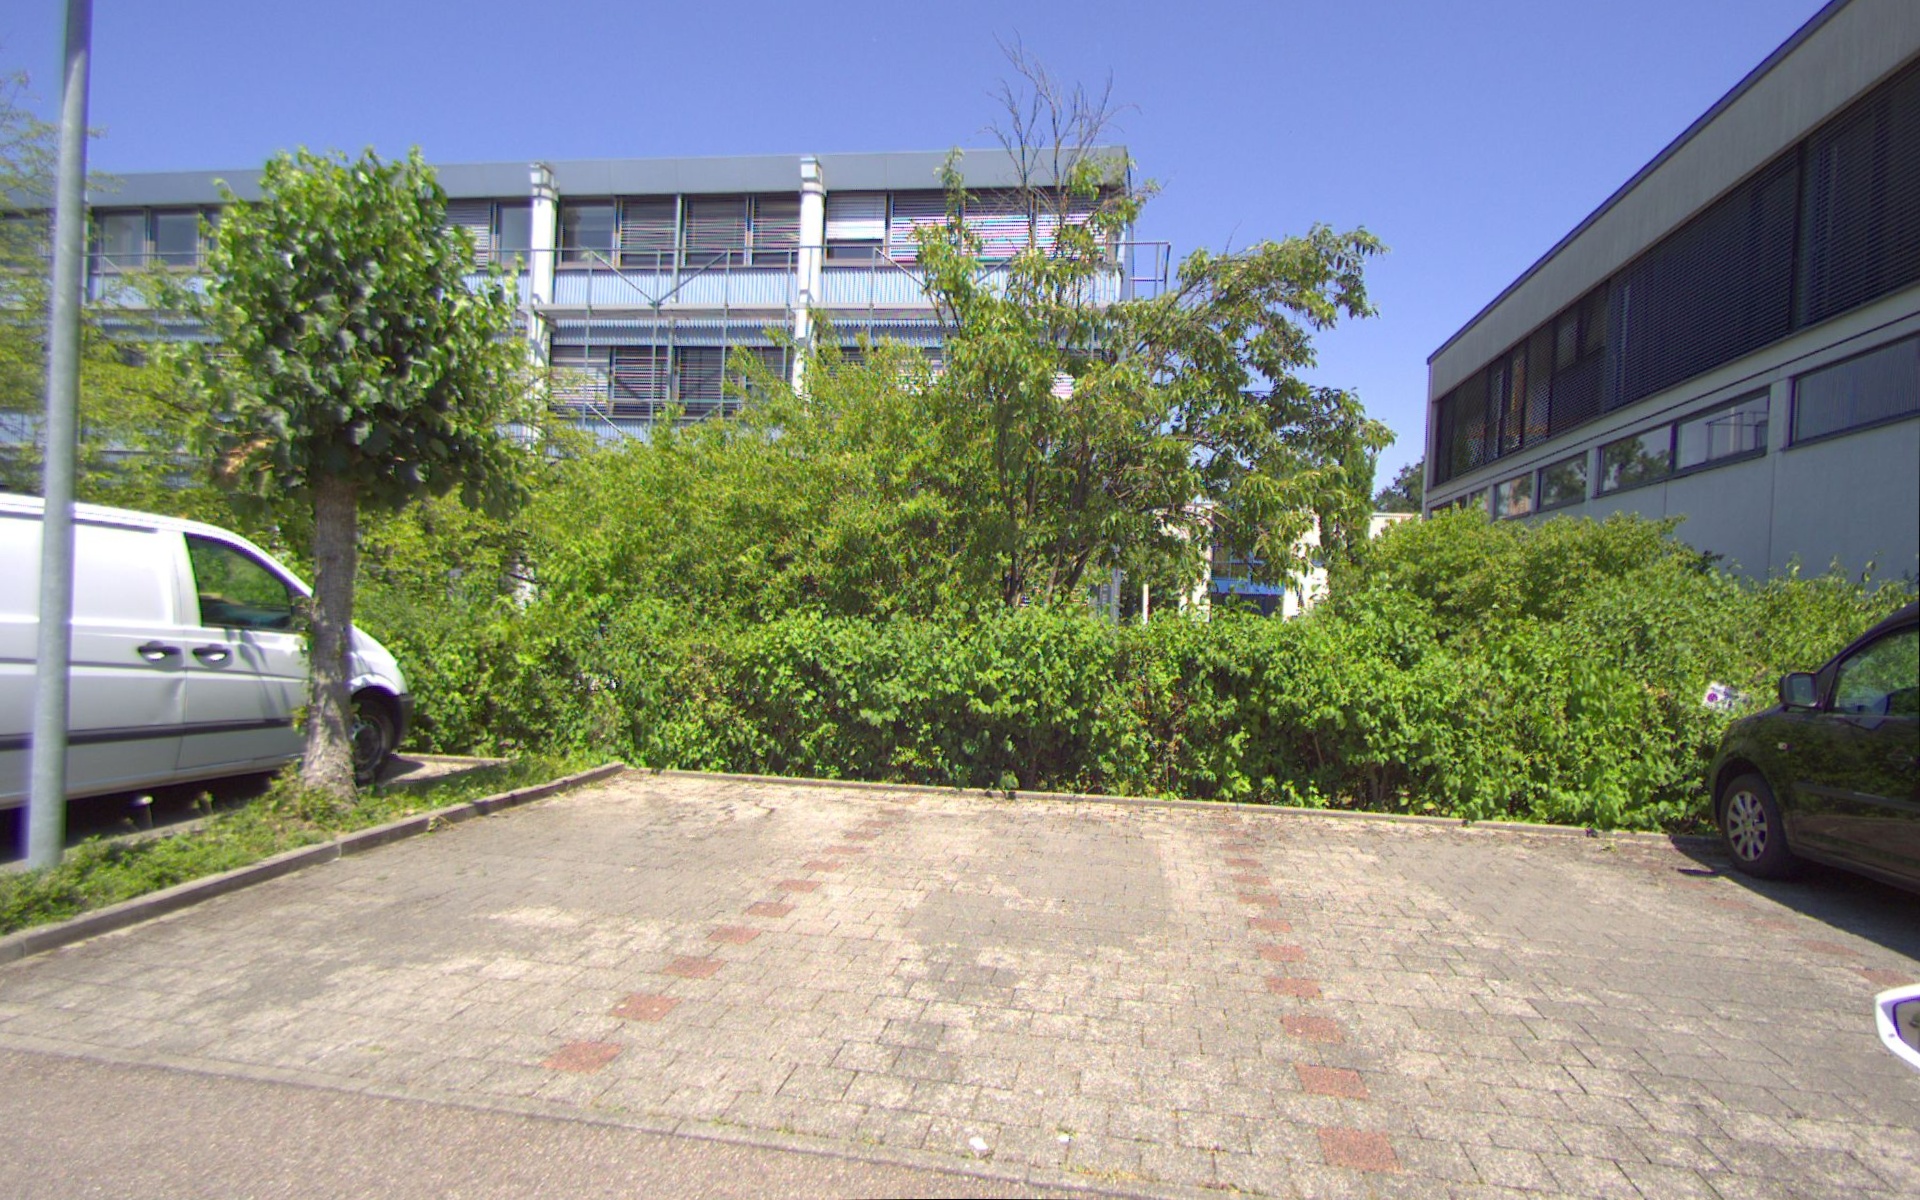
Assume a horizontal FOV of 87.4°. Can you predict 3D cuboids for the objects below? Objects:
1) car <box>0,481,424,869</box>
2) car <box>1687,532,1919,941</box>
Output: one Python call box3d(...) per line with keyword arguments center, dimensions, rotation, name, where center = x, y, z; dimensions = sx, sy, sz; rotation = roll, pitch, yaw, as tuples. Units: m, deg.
box3d(center=(-5.549, 0.357, 5.805), dimensions=(1.792, 1.931, 4.738), rotation=(2, 0, 9), name="car")
box3d(center=(5.303, 0.657, 4.539), dimensions=(1.644, 1.909, 4.074), rotation=(2, 0, 11), name="car")
